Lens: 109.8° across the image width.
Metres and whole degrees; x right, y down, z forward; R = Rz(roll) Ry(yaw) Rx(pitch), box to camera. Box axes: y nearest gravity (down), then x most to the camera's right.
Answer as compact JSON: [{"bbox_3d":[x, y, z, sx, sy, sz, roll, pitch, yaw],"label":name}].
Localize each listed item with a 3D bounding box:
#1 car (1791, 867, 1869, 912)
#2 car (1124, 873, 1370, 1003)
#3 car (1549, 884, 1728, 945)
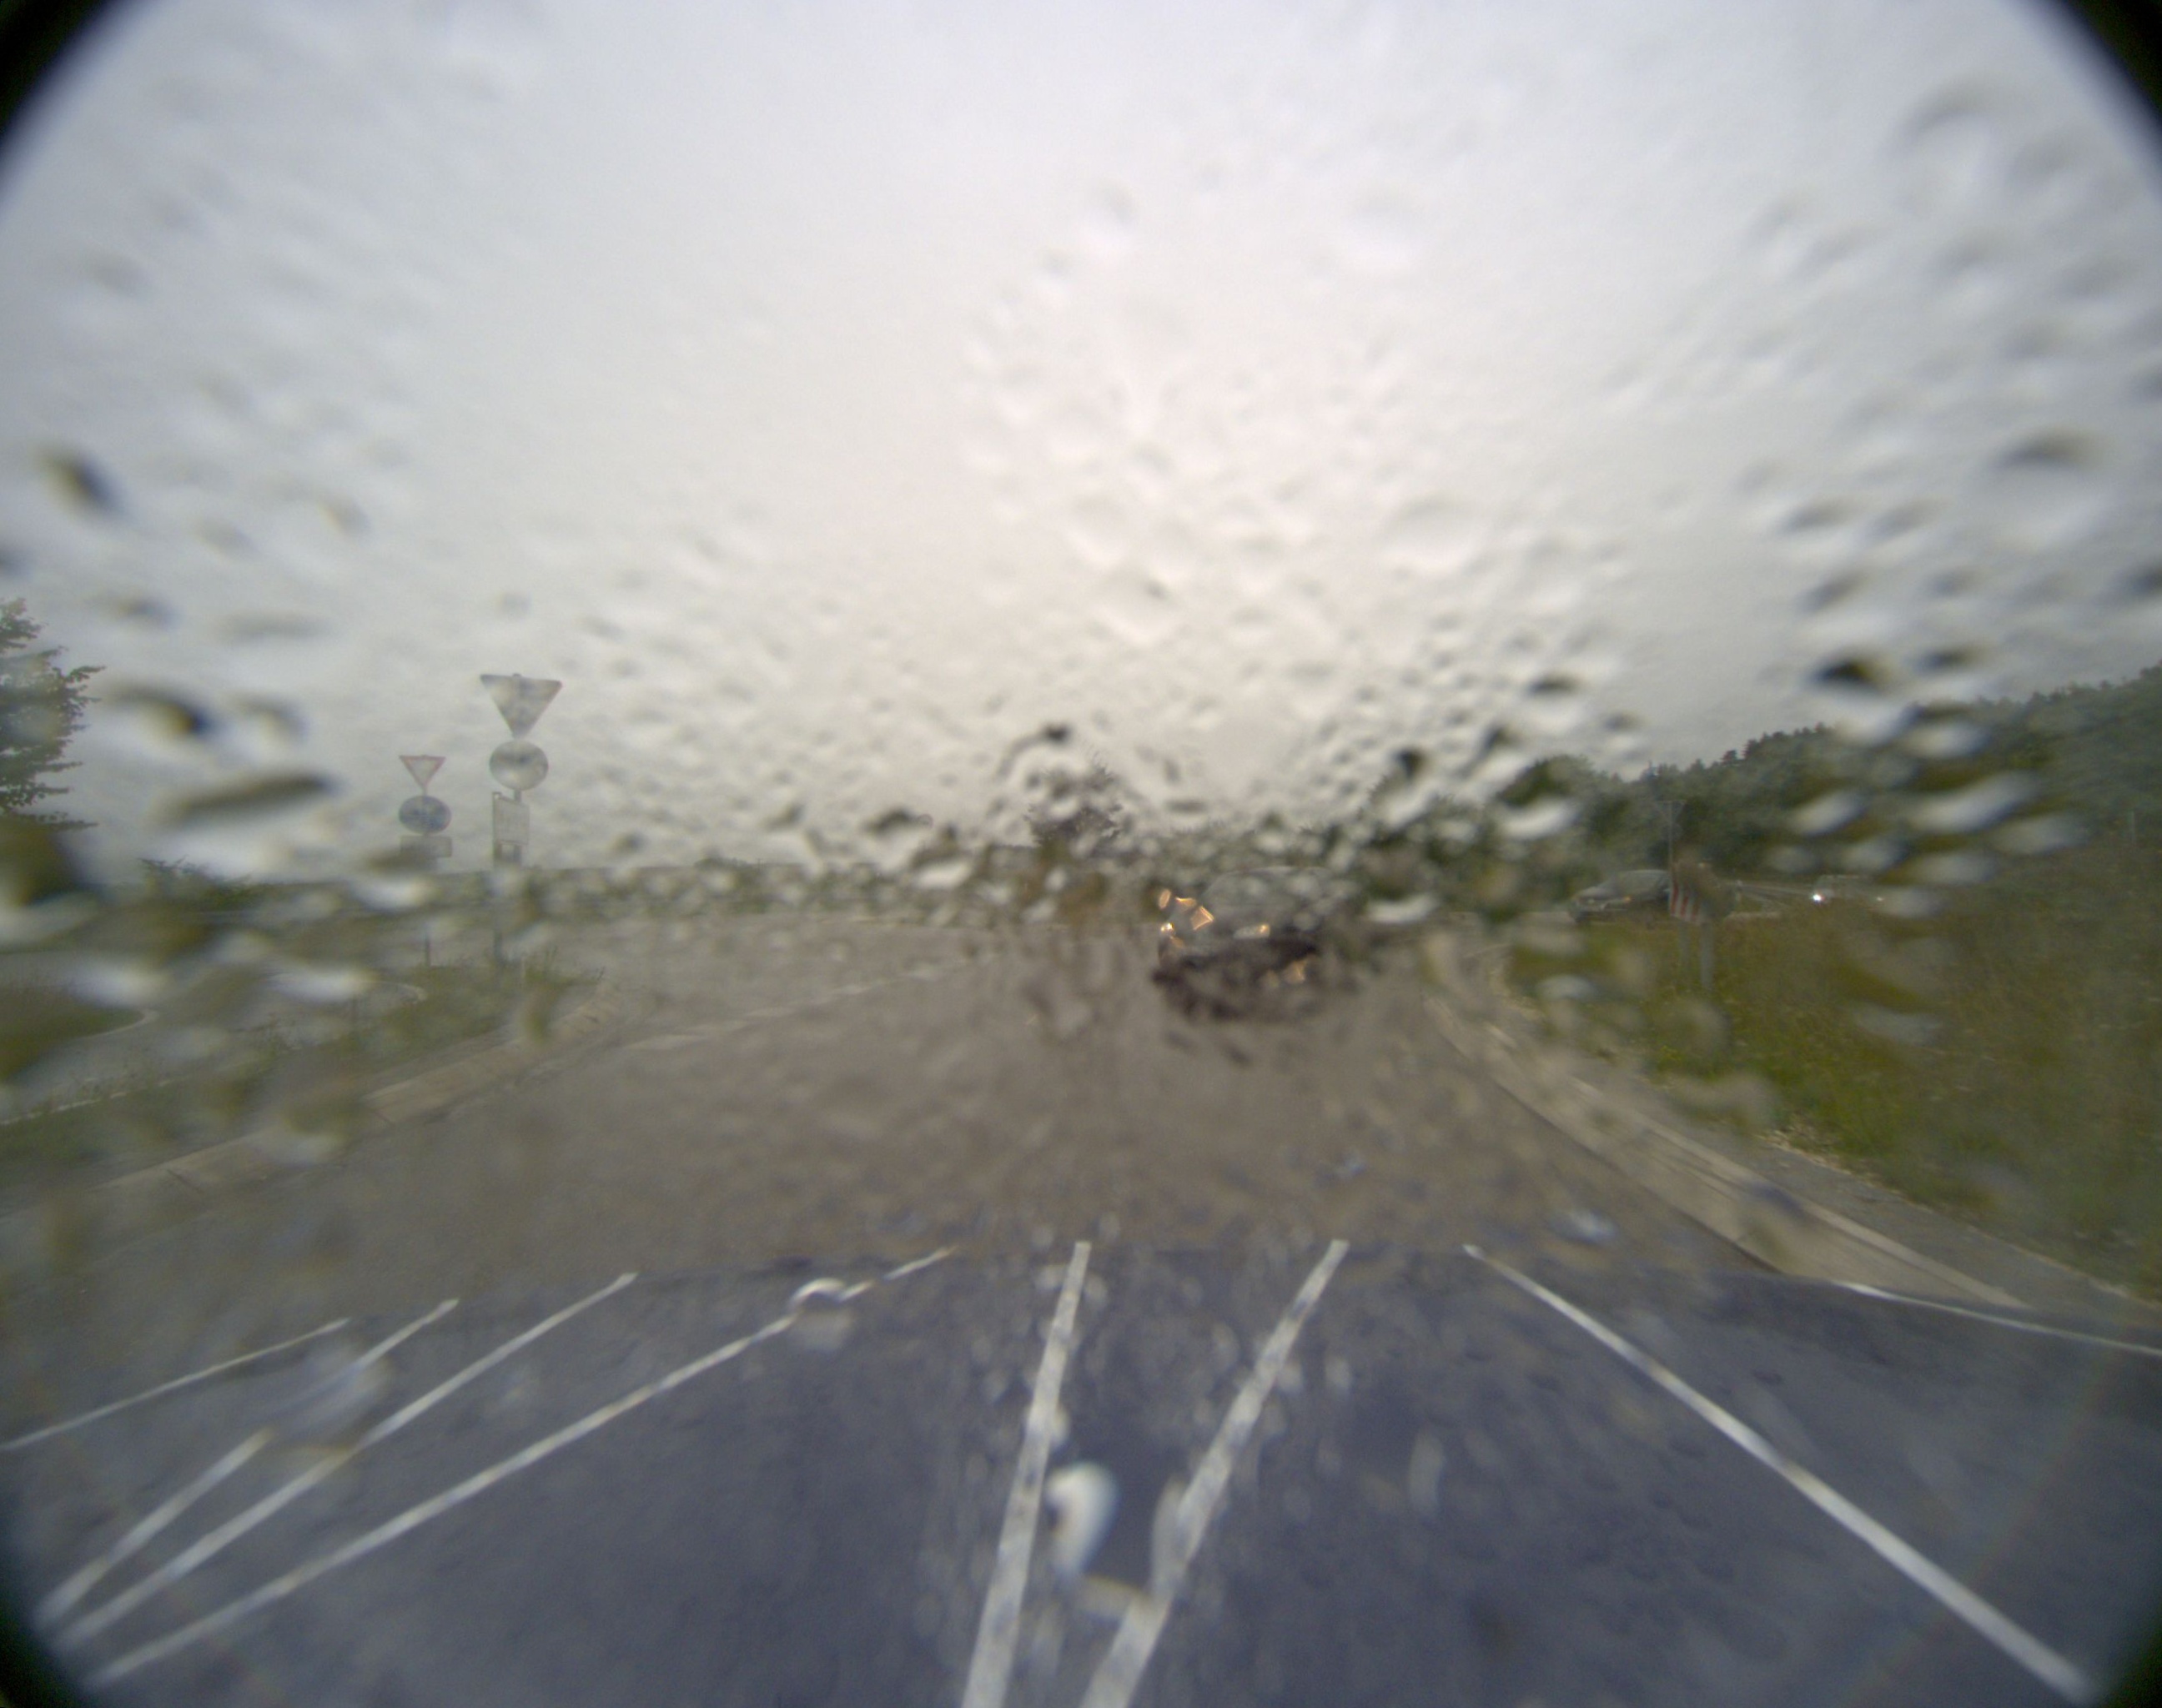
[{"bbox_3d":[26.007,1.191,26.325,4.514,1.412,1.759,2,-1,-43],"label":"car"},{"bbox_3d":[2.583,0.995,10.843,1.869,1.412,4.513,0,-1,34],"label":"car"},{"bbox_3d":[14.443,1.513,19.658,4.511,1.363,1.945,2,-1,-28],"label":"car"}]
